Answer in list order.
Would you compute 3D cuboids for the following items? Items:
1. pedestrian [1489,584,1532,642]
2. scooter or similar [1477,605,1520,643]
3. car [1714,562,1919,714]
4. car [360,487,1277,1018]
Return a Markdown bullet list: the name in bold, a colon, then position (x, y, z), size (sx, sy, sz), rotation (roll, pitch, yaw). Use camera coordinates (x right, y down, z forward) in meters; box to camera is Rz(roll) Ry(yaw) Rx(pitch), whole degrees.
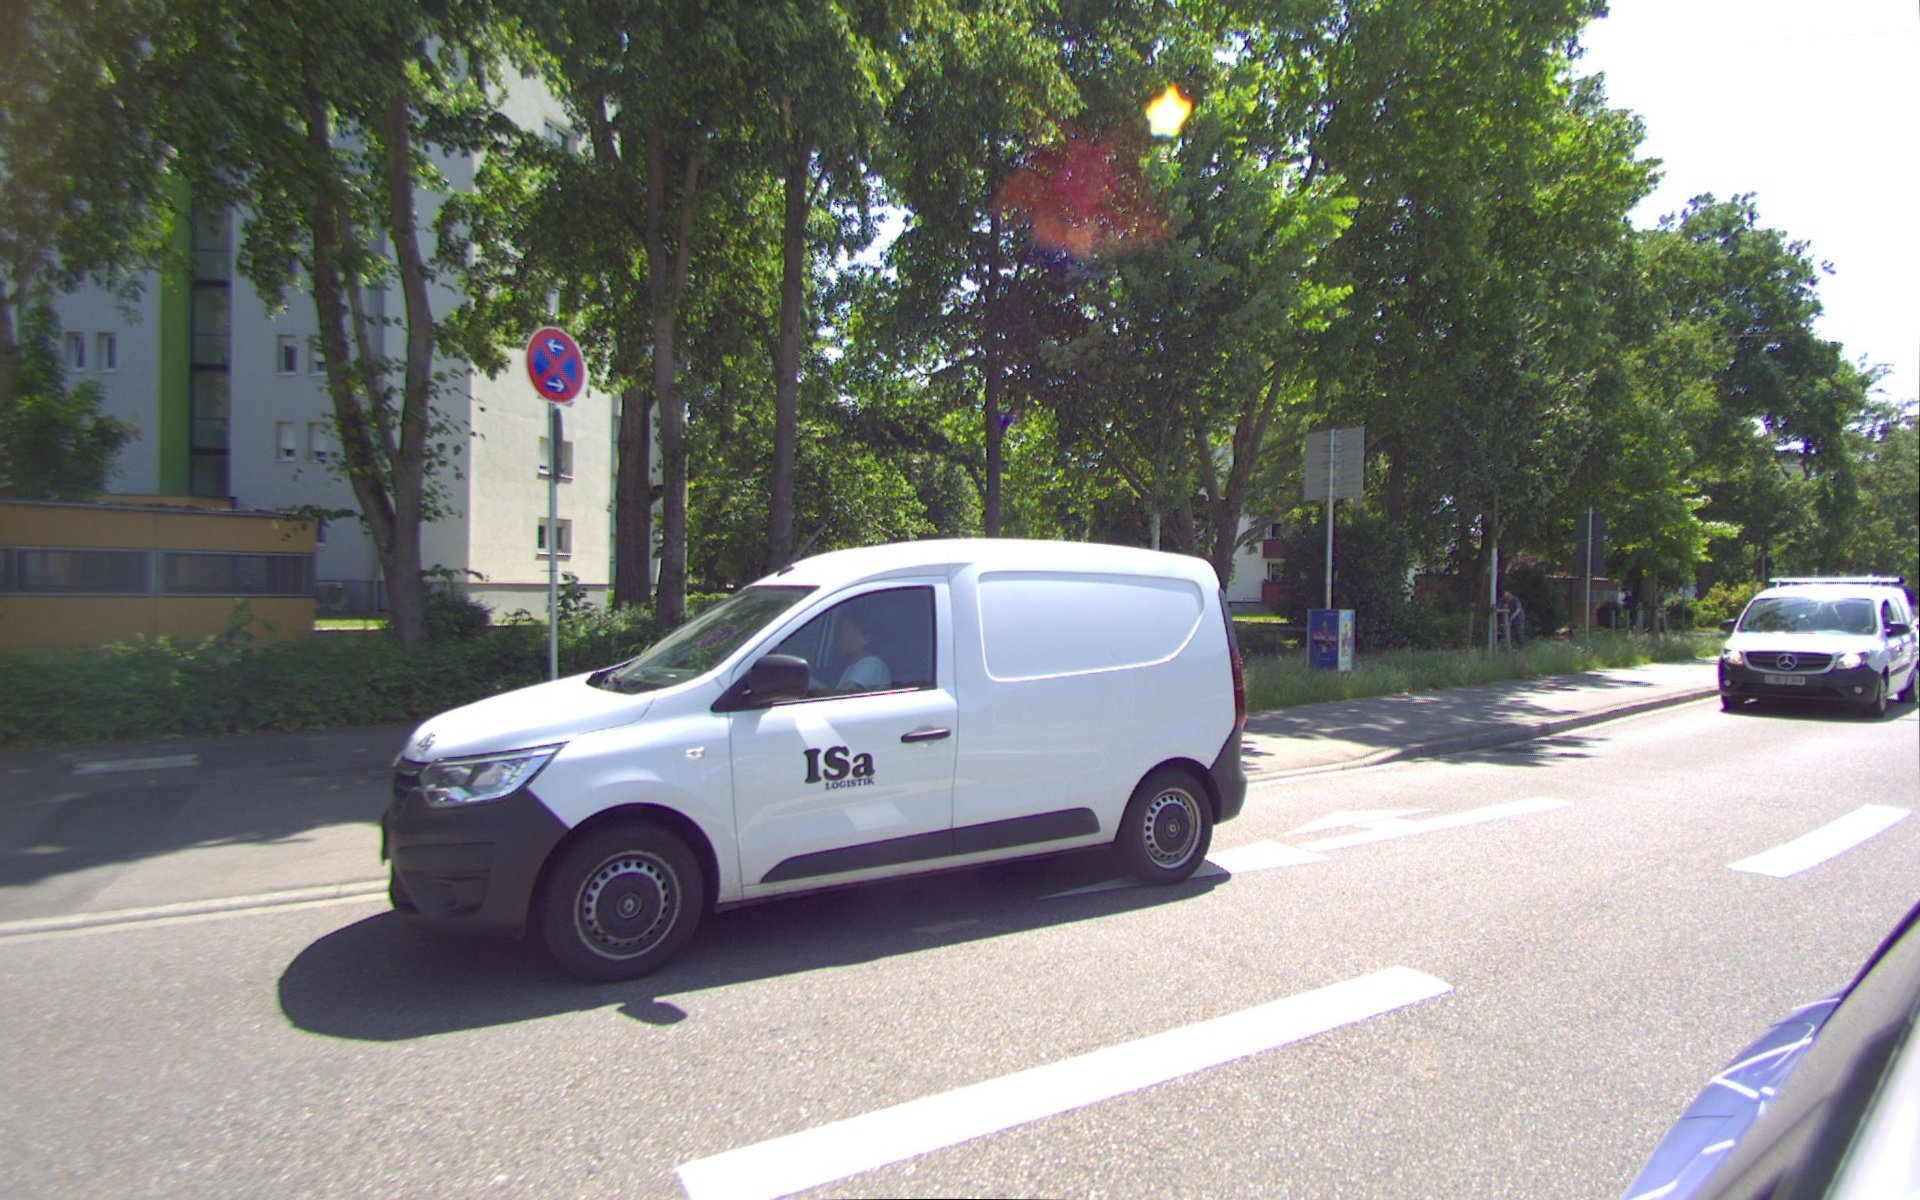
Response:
- **pedestrian**: position (13.873, 0.322, 25.495), size (0.749, 1.416, 0.709), rotation (0, -1, -39)
- **scooter or similar**: position (13.307, 0.580, 25.015), size (0.749, 0.904, 0.709), rotation (0, -1, -39)
- **car**: position (12.884, 0.468, 14.881), size (4.993, 1.879, 1.808), rotation (0, 0, -41)
- **car**: position (-0.559, 0.500, 5.224), size (4.339, 1.769, 1.716), rotation (0, 0, -30)
